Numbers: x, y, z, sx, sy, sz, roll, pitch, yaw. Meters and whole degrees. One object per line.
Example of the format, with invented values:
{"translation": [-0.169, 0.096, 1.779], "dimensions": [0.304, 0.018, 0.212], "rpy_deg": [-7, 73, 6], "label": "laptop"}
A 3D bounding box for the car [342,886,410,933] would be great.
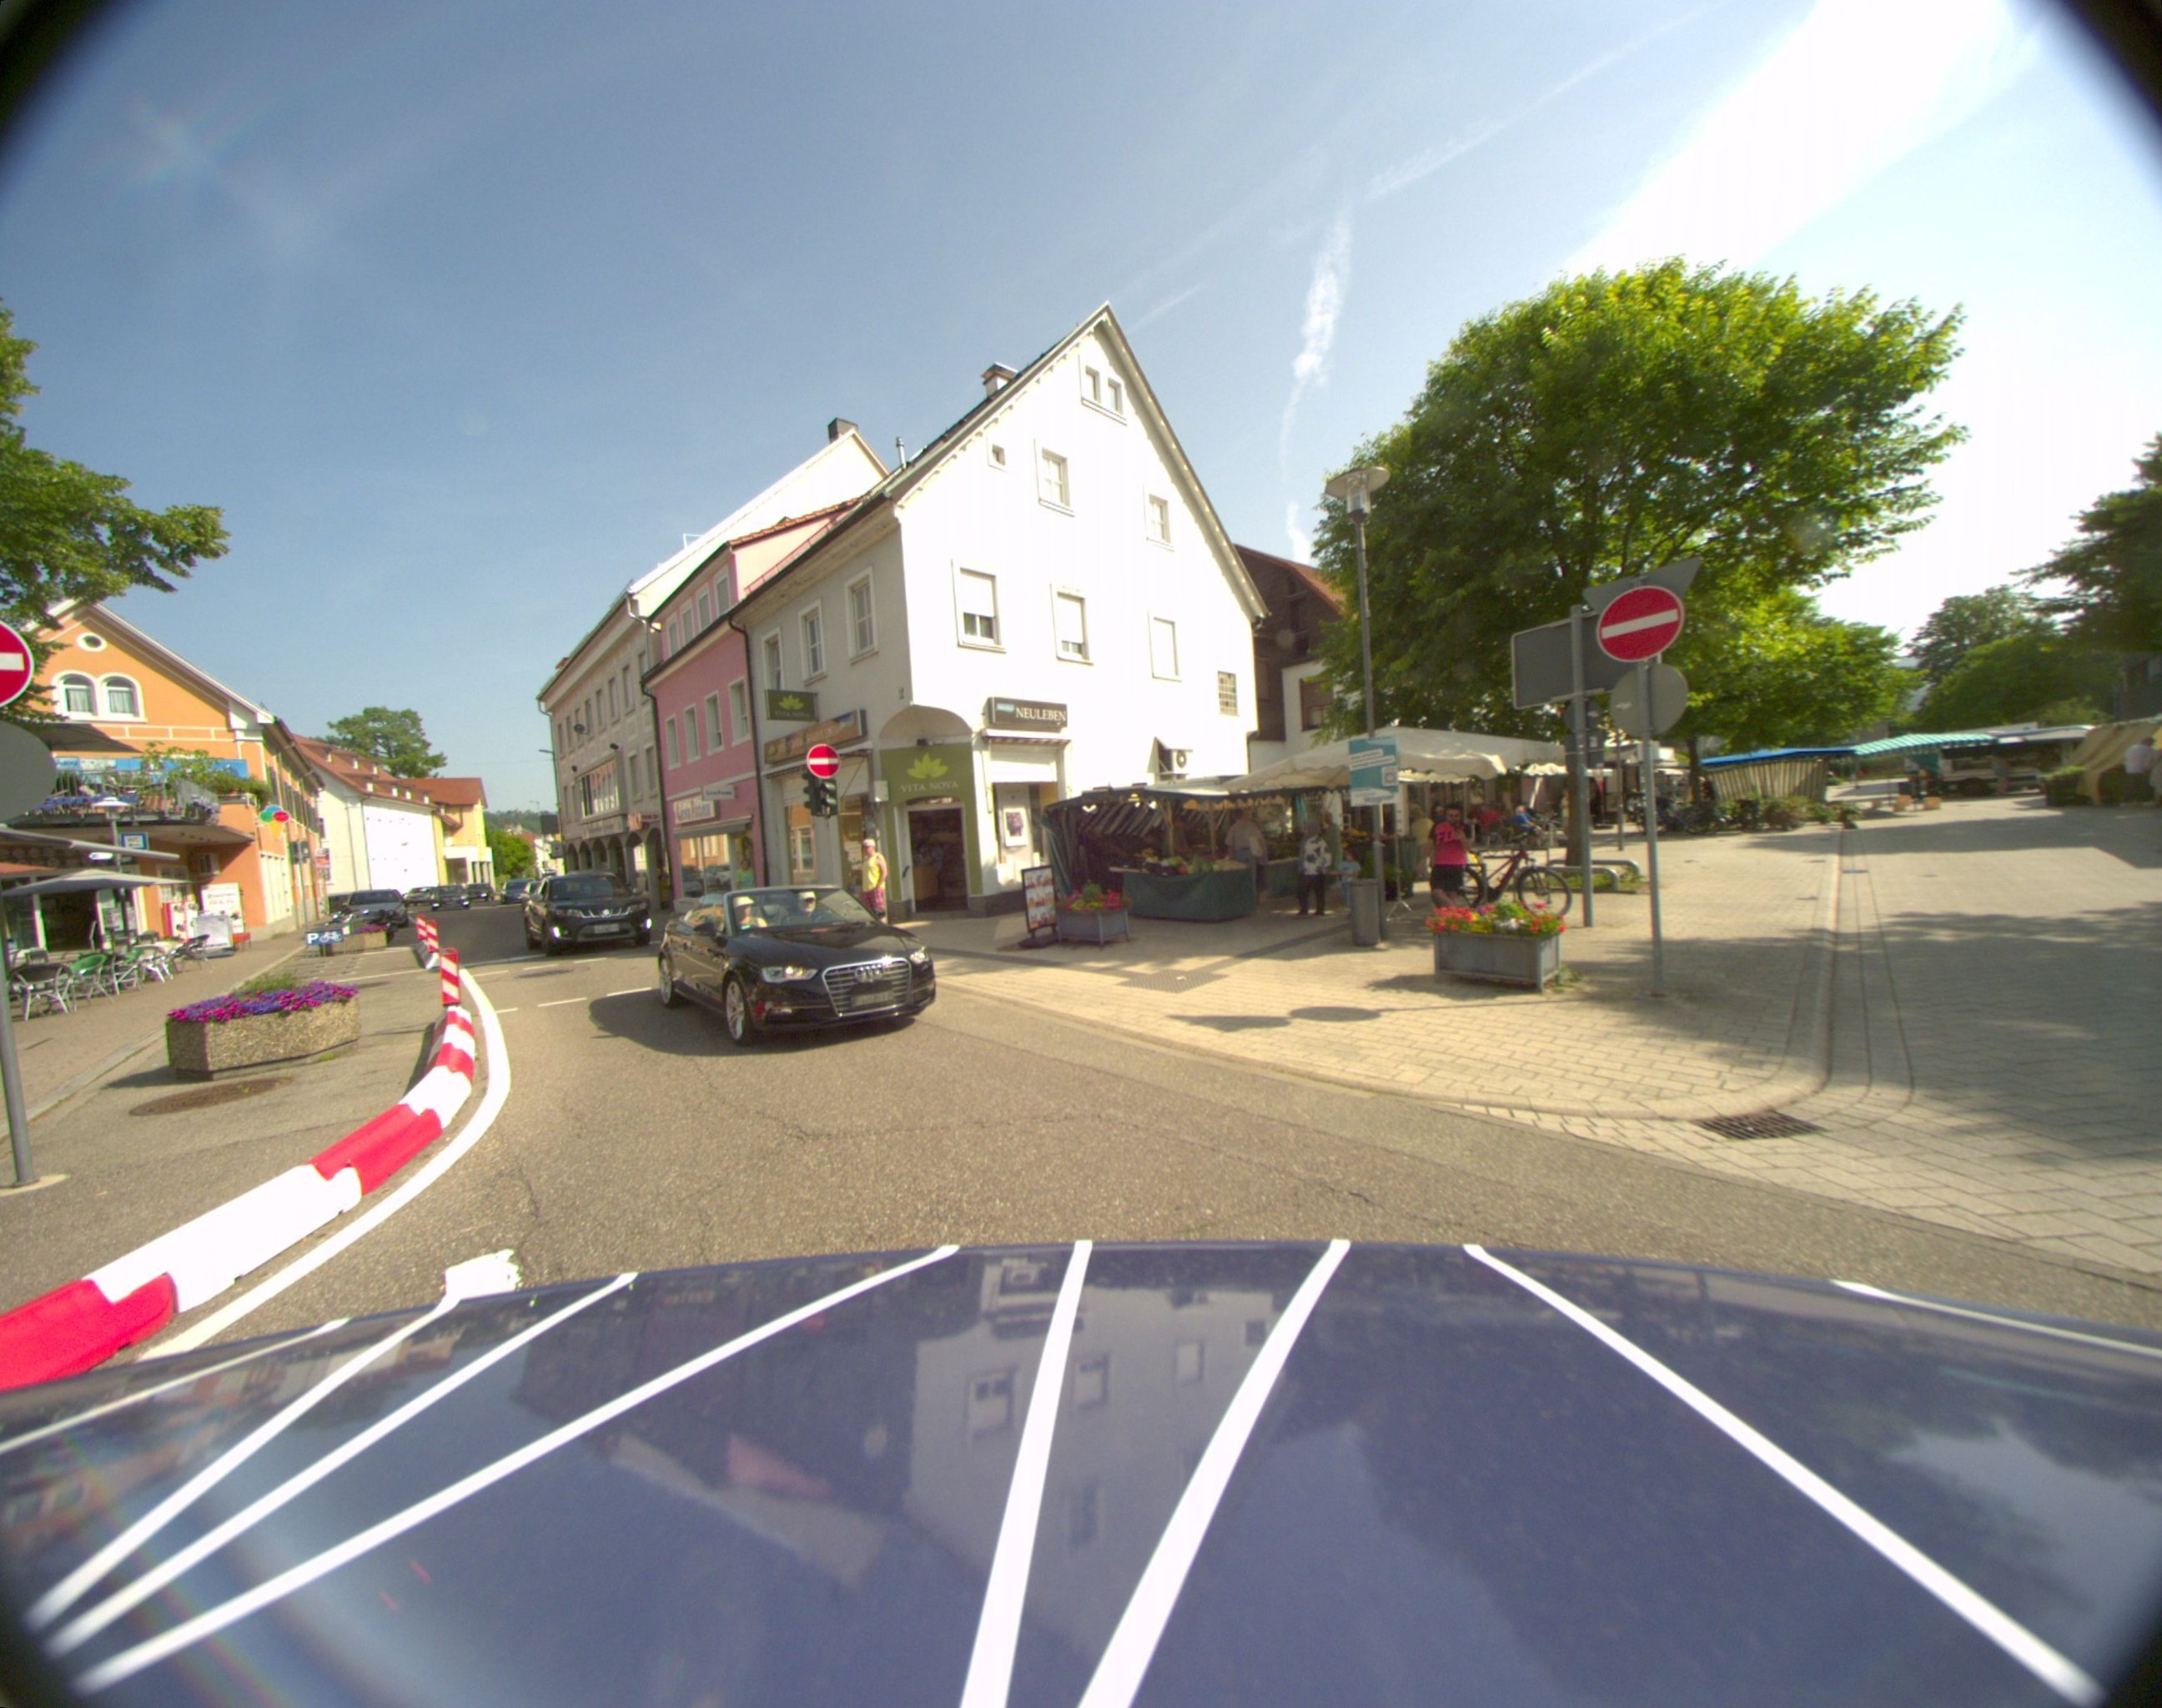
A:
{"translation": [-28.368, 2.184, 30.565], "dimensions": [1.754, 1.588, 4.582], "rpy_deg": [-6, 2, -44], "label": "car"}

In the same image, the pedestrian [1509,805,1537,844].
{"translation": [13.986, -0.931, 24.025], "dimensions": [0.652, 1.195, 0.570], "rpy_deg": [-7, 6, -40], "label": "pedestrian"}

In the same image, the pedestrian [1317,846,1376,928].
{"translation": [3.951, 0.477, 11.309], "dimensions": [0.623, 1.154, 0.515], "rpy_deg": [-5, 3, -35], "label": "pedestrian"}

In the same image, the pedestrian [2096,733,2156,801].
{"translation": [27.289, -2.259, 19.856], "dimensions": [0.680, 1.672, 0.584], "rpy_deg": [-5, 1, 32], "label": "pedestrian"}

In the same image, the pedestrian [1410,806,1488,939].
{"translation": [4.798, 0.227, 9.925], "dimensions": [0.881, 1.650, 0.573], "rpy_deg": [-1, 5, 25], "label": "pedestrian"}

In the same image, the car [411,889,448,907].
{"translation": [-52.976, 3.564, 61.832], "dimensions": [1.530, 1.237, 4.025], "rpy_deg": [-5, 1, -31], "label": "car"}

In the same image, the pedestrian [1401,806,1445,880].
{"translation": [7.208, -0.224, 16.012], "dimensions": [0.620, 1.510, 0.634], "rpy_deg": [-2, 3, 41], "label": "pedestrian"}

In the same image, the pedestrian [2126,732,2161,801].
{"translation": [26.944, -2.197, 19.036], "dimensions": [0.680, 1.672, 0.583], "rpy_deg": [-5, 3, 32], "label": "pedestrian"}

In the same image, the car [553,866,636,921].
{"translation": [-18.337, 1.474, 28.567], "dimensions": [1.714, 1.730, 4.135], "rpy_deg": [-8, 4, -44], "label": "car"}

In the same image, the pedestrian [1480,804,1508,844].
{"translation": [12.874, -0.930, 23.679], "dimensions": [0.652, 1.195, 0.570], "rpy_deg": [-7, 6, -40], "label": "pedestrian"}

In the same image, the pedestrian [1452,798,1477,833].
{"translation": [13.577, -1.354, 26.870], "dimensions": [0.652, 1.195, 0.570], "rpy_deg": [-7, 6, -40], "label": "pedestrian"}

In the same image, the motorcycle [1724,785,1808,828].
{"translation": [20.180, -1.410, 22.444], "dimensions": [0.643, 1.189, 2.004], "rpy_deg": [-2, 4, 1], "label": "motorcycle"}

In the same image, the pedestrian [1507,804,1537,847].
{"translation": [12.577, -0.812, 21.677], "dimensions": [0.697, 1.195, 0.573], "rpy_deg": [0, 6, 35], "label": "pedestrian"}

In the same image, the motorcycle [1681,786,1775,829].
{"translation": [19.048, -1.350, 22.425], "dimensions": [0.644, 1.189, 2.000], "rpy_deg": [-5, 5, -28], "label": "motorcycle"}

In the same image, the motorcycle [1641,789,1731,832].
{"translation": [18.035, -1.287, 22.705], "dimensions": [0.644, 1.189, 2.000], "rpy_deg": [-5, 5, -28], "label": "motorcycle"}

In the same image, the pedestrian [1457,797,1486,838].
{"translation": [13.196, -1.231, 25.666], "dimensions": [0.700, 1.324, 0.625], "rpy_deg": [-7, 6, -38], "label": "pedestrian"}

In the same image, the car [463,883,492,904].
{"translation": [-50.316, 3.267, 63.413], "dimensions": [1.687, 1.552, 3.333], "rpy_deg": [-5, 2, -37], "label": "car"}

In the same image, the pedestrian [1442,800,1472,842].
{"translation": [12.386, -1.086, 25.004], "dimensions": [0.700, 1.324, 0.625], "rpy_deg": [-7, 6, -38], "label": "pedestrian"}

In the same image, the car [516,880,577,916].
{"translation": [-26.005, 2.084, 36.887], "dimensions": [1.812, 1.462, 4.443], "rpy_deg": [-6, 2, -42], "label": "car"}

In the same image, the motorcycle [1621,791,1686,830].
{"translation": [18.186, -1.366, 24.149], "dimensions": [0.644, 1.189, 1.528], "rpy_deg": [-6, 6, -41], "label": "motorcycle"}

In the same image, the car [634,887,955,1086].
{"translation": [-3.186, 1.090, 7.877], "dimensions": [1.759, 1.348, 4.189], "rpy_deg": [-4, 1, -40], "label": "car"}

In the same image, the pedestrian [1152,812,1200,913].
{"translation": [1.895, 0.165, 15.223], "dimensions": [0.707, 1.960, 0.507], "rpy_deg": [-4, 2, -15], "label": "pedestrian"}

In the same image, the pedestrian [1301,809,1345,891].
{"translation": [4.968, -0.091, 15.559], "dimensions": [0.520, 1.618, 0.708], "rpy_deg": [-1, 3, 44], "label": "pedestrian"}

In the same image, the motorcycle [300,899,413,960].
{"translation": [-19.341, 1.996, 20.356], "dimensions": [0.915, 1.350, 1.902], "rpy_deg": [-4, 1, 13], "label": "motorcycle"}

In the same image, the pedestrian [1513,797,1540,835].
{"translation": [14.421, -1.227, 24.611], "dimensions": [0.652, 1.195, 0.570], "rpy_deg": [-7, 6, -40], "label": "pedestrian"}

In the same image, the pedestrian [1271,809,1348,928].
{"translation": [3.490, 0.202, 11.615], "dimensions": [0.789, 1.714, 0.705], "rpy_deg": [-5, 2, -32], "label": "pedestrian"}

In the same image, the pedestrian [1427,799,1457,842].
{"translation": [11.630, -1.069, 24.463], "dimensions": [0.700, 1.324, 0.625], "rpy_deg": [-7, 6, -38], "label": "pedestrian"}

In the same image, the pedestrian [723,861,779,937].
{"translation": [-7.610, 1.016, 17.502], "dimensions": [0.789, 1.623, 0.856], "rpy_deg": [-9, 5, -40], "label": "pedestrian"}

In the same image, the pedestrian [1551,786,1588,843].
{"translation": [13.816, -1.114, 21.489], "dimensions": [0.573, 1.545, 0.697], "rpy_deg": [-6, 6, -35], "label": "pedestrian"}

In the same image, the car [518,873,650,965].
{"translation": [-10.515, 1.276, 15.962], "dimensions": [1.687, 1.552, 3.960], "rpy_deg": [-5, 2, -41], "label": "car"}

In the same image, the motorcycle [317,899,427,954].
{"translation": [-20.170, 2.032, 21.689], "dimensions": [0.928, 1.263, 2.091], "rpy_deg": [-4, 1, 8], "label": "motorcycle"}

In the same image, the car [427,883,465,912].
{"translation": [-39.859, 2.703, 47.668], "dimensions": [1.687, 1.552, 3.333], "rpy_deg": [-5, 2, -41], "label": "car"}

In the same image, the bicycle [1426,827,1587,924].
{"translation": [5.914, 0.308, 10.613], "dimensions": [1.857, 1.228, 0.618], "rpy_deg": [-3, 2, 36], "label": "bicycle"}

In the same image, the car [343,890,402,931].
{"translation": [-31.963, 2.521, 34.352], "dimensions": [1.687, 1.550, 4.093], "rpy_deg": [-6, 2, -41], "label": "car"}

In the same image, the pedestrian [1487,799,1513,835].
{"translation": [14.424, -1.271, 26.156], "dimensions": [0.652, 1.195, 0.570], "rpy_deg": [-7, 6, -40], "label": "pedestrian"}

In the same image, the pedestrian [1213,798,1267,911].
{"translation": [2.863, 0.007, 13.641], "dimensions": [0.705, 1.974, 0.653], "rpy_deg": [-2, 2, 28], "label": "pedestrian"}

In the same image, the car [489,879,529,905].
{"translation": [-38.523, 2.523, 51.109], "dimensions": [1.773, 1.552, 3.960], "rpy_deg": [-5, 2, -41], "label": "car"}

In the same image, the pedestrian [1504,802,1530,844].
{"translation": [12.930, -0.908, 22.539], "dimensions": [0.570, 1.195, 0.652], "rpy_deg": [1, 6, 38], "label": "pedestrian"}

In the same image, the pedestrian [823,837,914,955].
{"translation": [-3.627, 0.706, 13.086], "dimensions": [1.020, 1.806, 0.907], "rpy_deg": [-7, 6, 3], "label": "pedestrian"}
